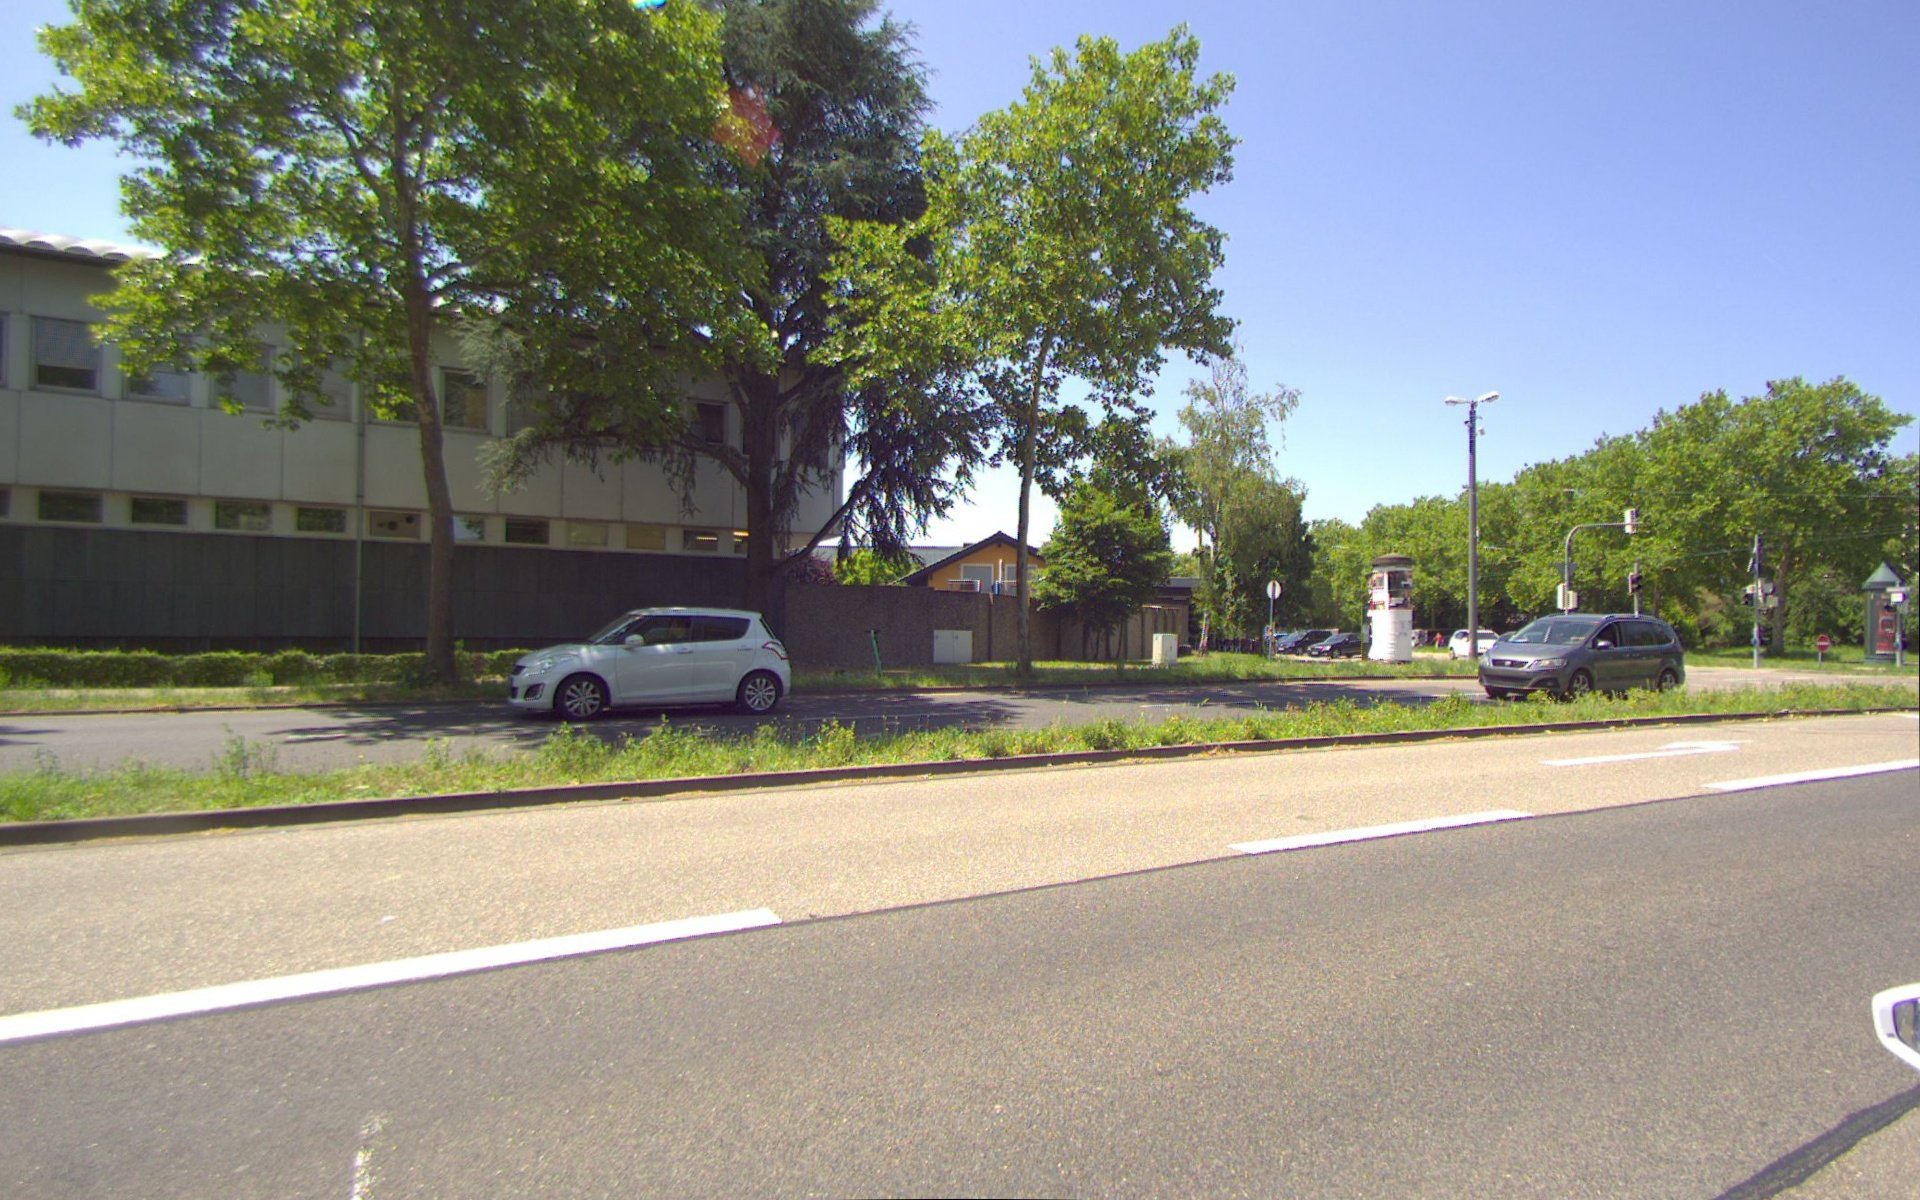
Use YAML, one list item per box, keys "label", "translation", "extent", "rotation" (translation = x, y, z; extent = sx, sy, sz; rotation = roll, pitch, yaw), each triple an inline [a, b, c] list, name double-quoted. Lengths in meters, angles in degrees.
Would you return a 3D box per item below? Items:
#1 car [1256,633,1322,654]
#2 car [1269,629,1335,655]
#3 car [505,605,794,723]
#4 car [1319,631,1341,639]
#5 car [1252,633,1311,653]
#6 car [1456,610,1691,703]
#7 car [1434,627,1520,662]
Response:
- label: "car"
  translation: [23.029, 3.024, 70.214]
  extent: [4.330, 1.430, 1.866]
  rotation: [1, -2, -26]
- label: "car"
  translation: [22.789, 2.780, 66.824]
  extent: [4.138, 1.672, 1.773]
  rotation: [1, -2, -26]
- label: "car"
  translation: [-4.387, 0.856, 14.279]
  extent: [3.631, 1.478, 1.723]
  rotation: [1, -2, -30]
- label: "car"
  translation: [49.818, 4.707, 135.310]
  extent: [2.667, 1.007, 1.009]
  rotation: [1, -1, -1]
- label: "car"
  translation: [24.369, 3.248, 76.154]
  extent: [4.004, 1.442, 1.936]
  rotation: [1, -2, -24]
- label: "car"
  translation: [12.219, 1.080, 19.979]
  extent: [4.562, 1.678, 1.942]
  rotation: [1, -1, -28]
- label: "car"
  translation: [25.862, 2.200, 50.417]
  extent: [2.172, 1.626, 4.463]
  rotation: [0, -1, 2]
